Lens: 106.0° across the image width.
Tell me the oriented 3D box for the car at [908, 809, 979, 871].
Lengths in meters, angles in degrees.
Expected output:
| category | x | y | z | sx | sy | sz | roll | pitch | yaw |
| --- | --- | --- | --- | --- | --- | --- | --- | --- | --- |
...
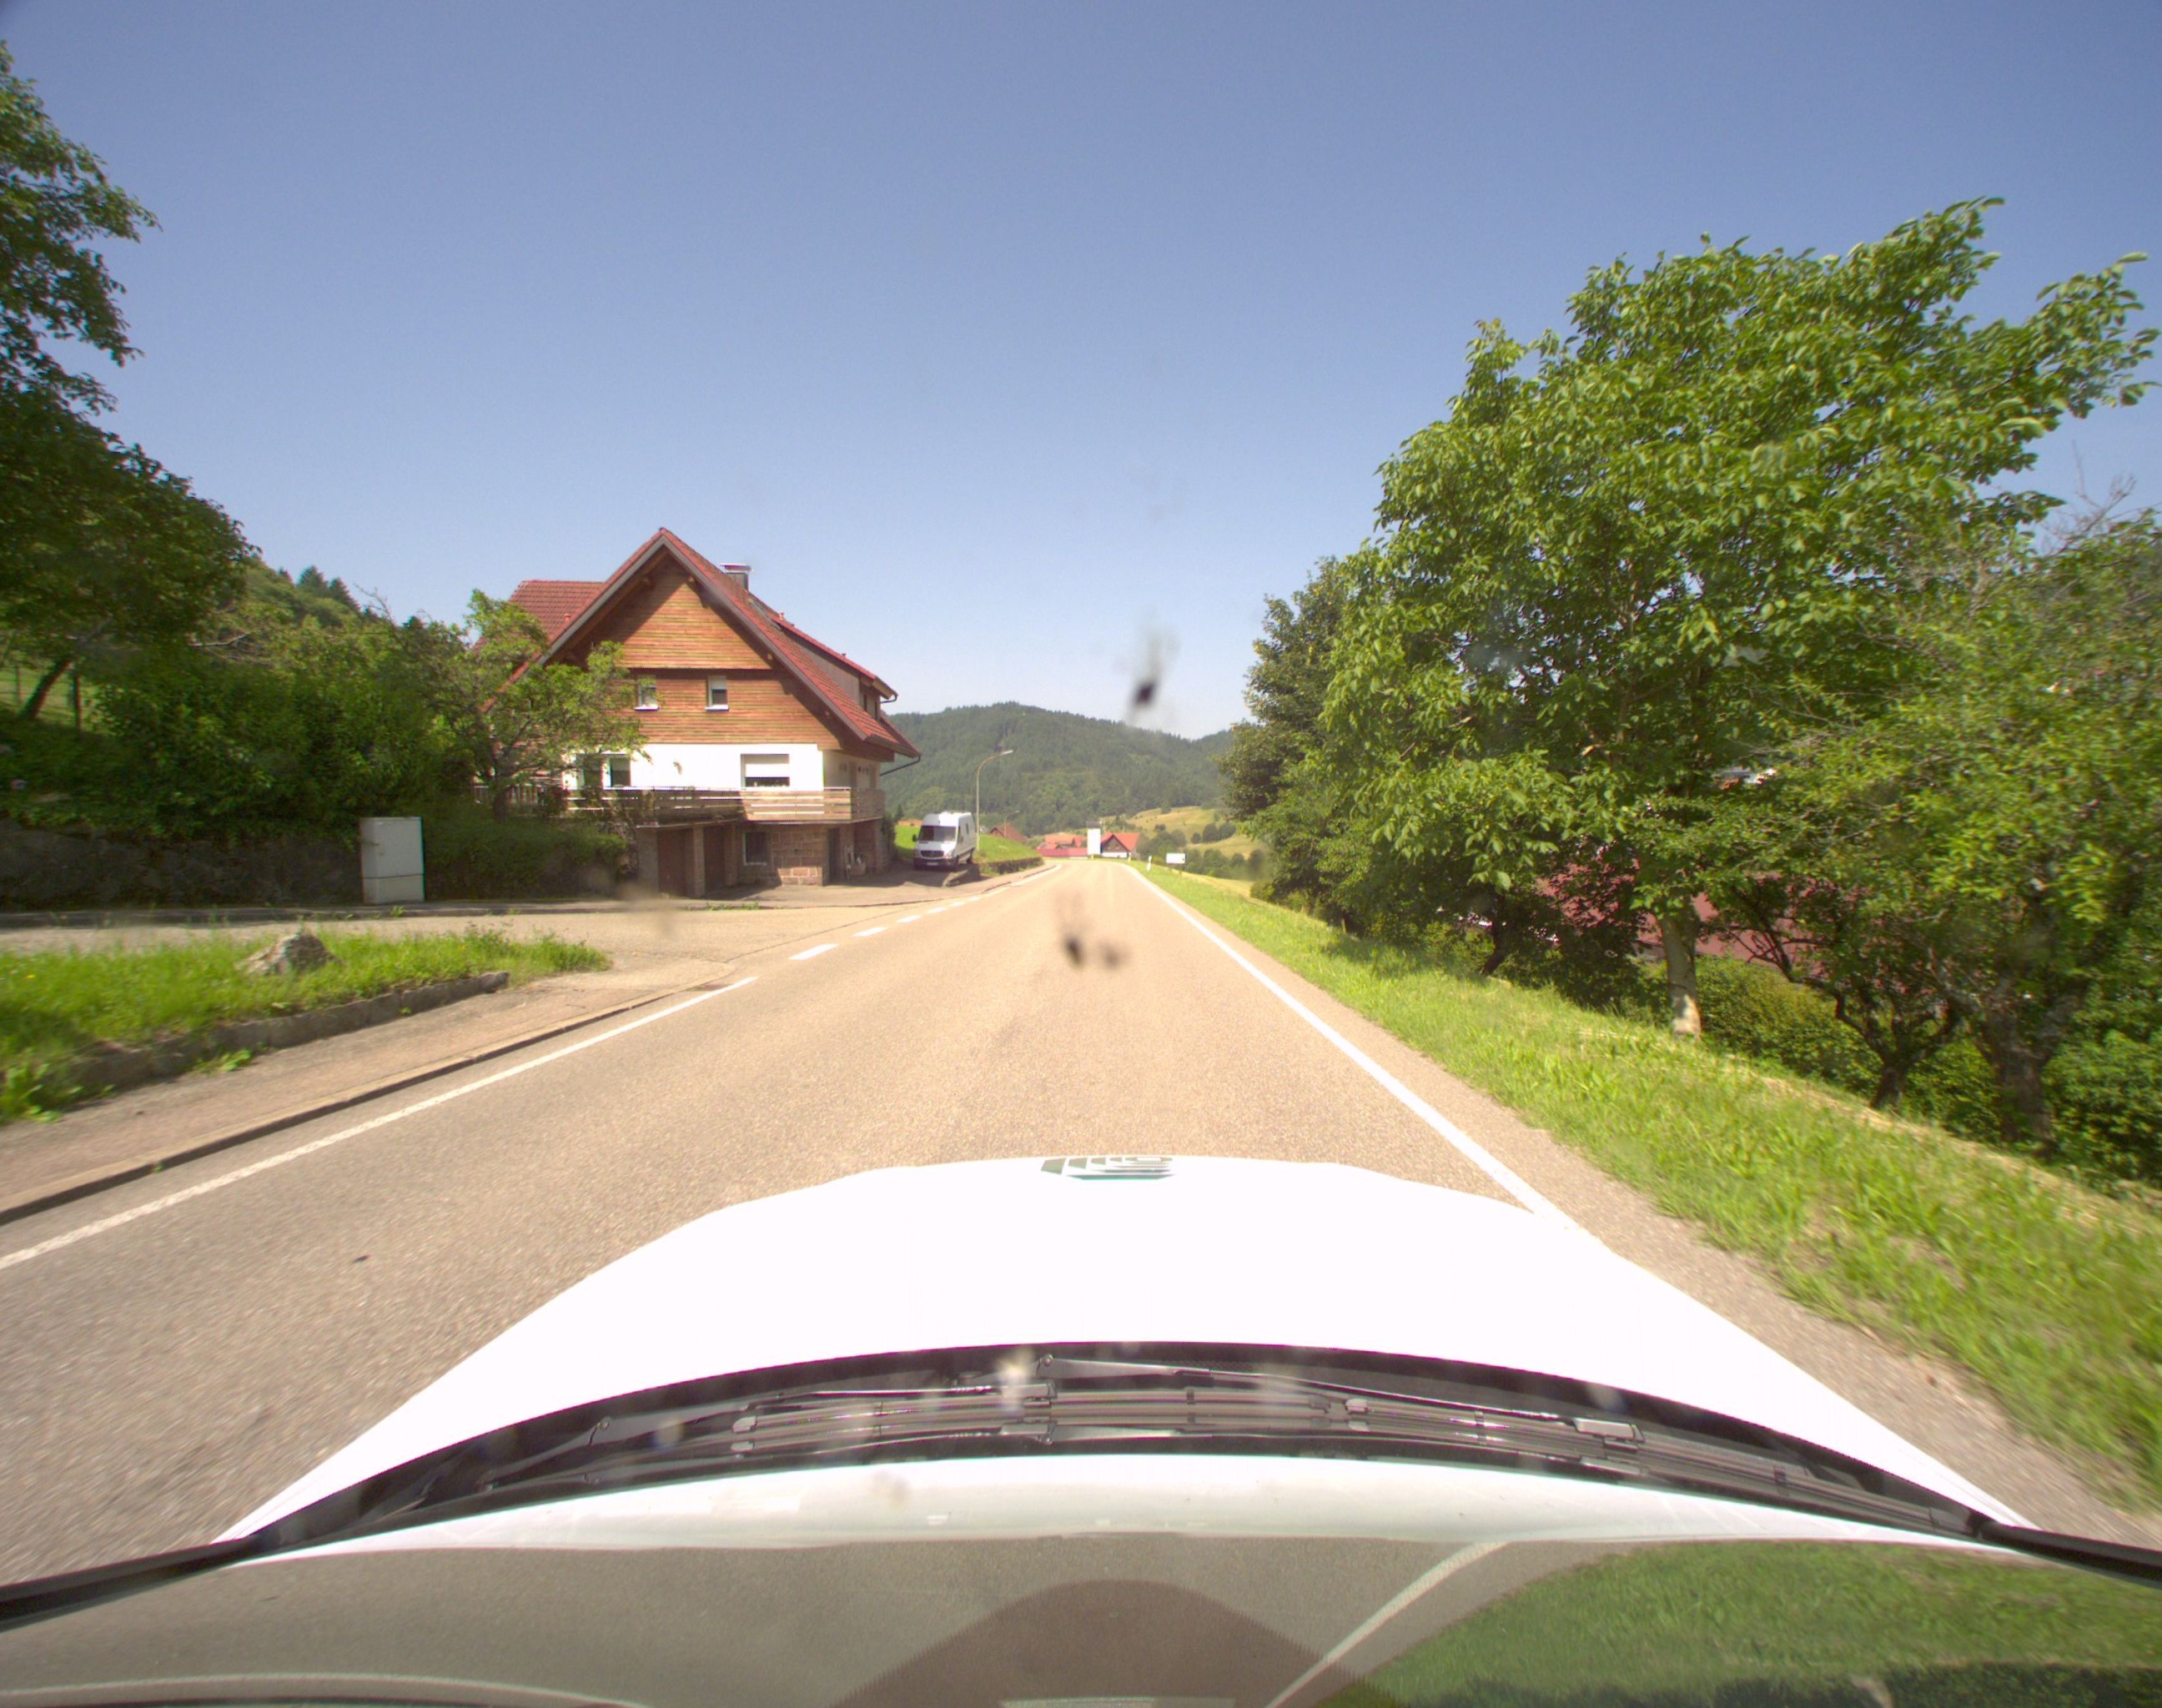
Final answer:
| category | x | y | z | sx | sy | sz | roll | pitch | yaw |
| --- | --- | --- | --- | --- | --- | --- | --- | --- | --- |
| car | -6.526 | -0.821 | 39.588 | 2.060 | 2.687 | 7.177 | 0 | 3 | 1 |
